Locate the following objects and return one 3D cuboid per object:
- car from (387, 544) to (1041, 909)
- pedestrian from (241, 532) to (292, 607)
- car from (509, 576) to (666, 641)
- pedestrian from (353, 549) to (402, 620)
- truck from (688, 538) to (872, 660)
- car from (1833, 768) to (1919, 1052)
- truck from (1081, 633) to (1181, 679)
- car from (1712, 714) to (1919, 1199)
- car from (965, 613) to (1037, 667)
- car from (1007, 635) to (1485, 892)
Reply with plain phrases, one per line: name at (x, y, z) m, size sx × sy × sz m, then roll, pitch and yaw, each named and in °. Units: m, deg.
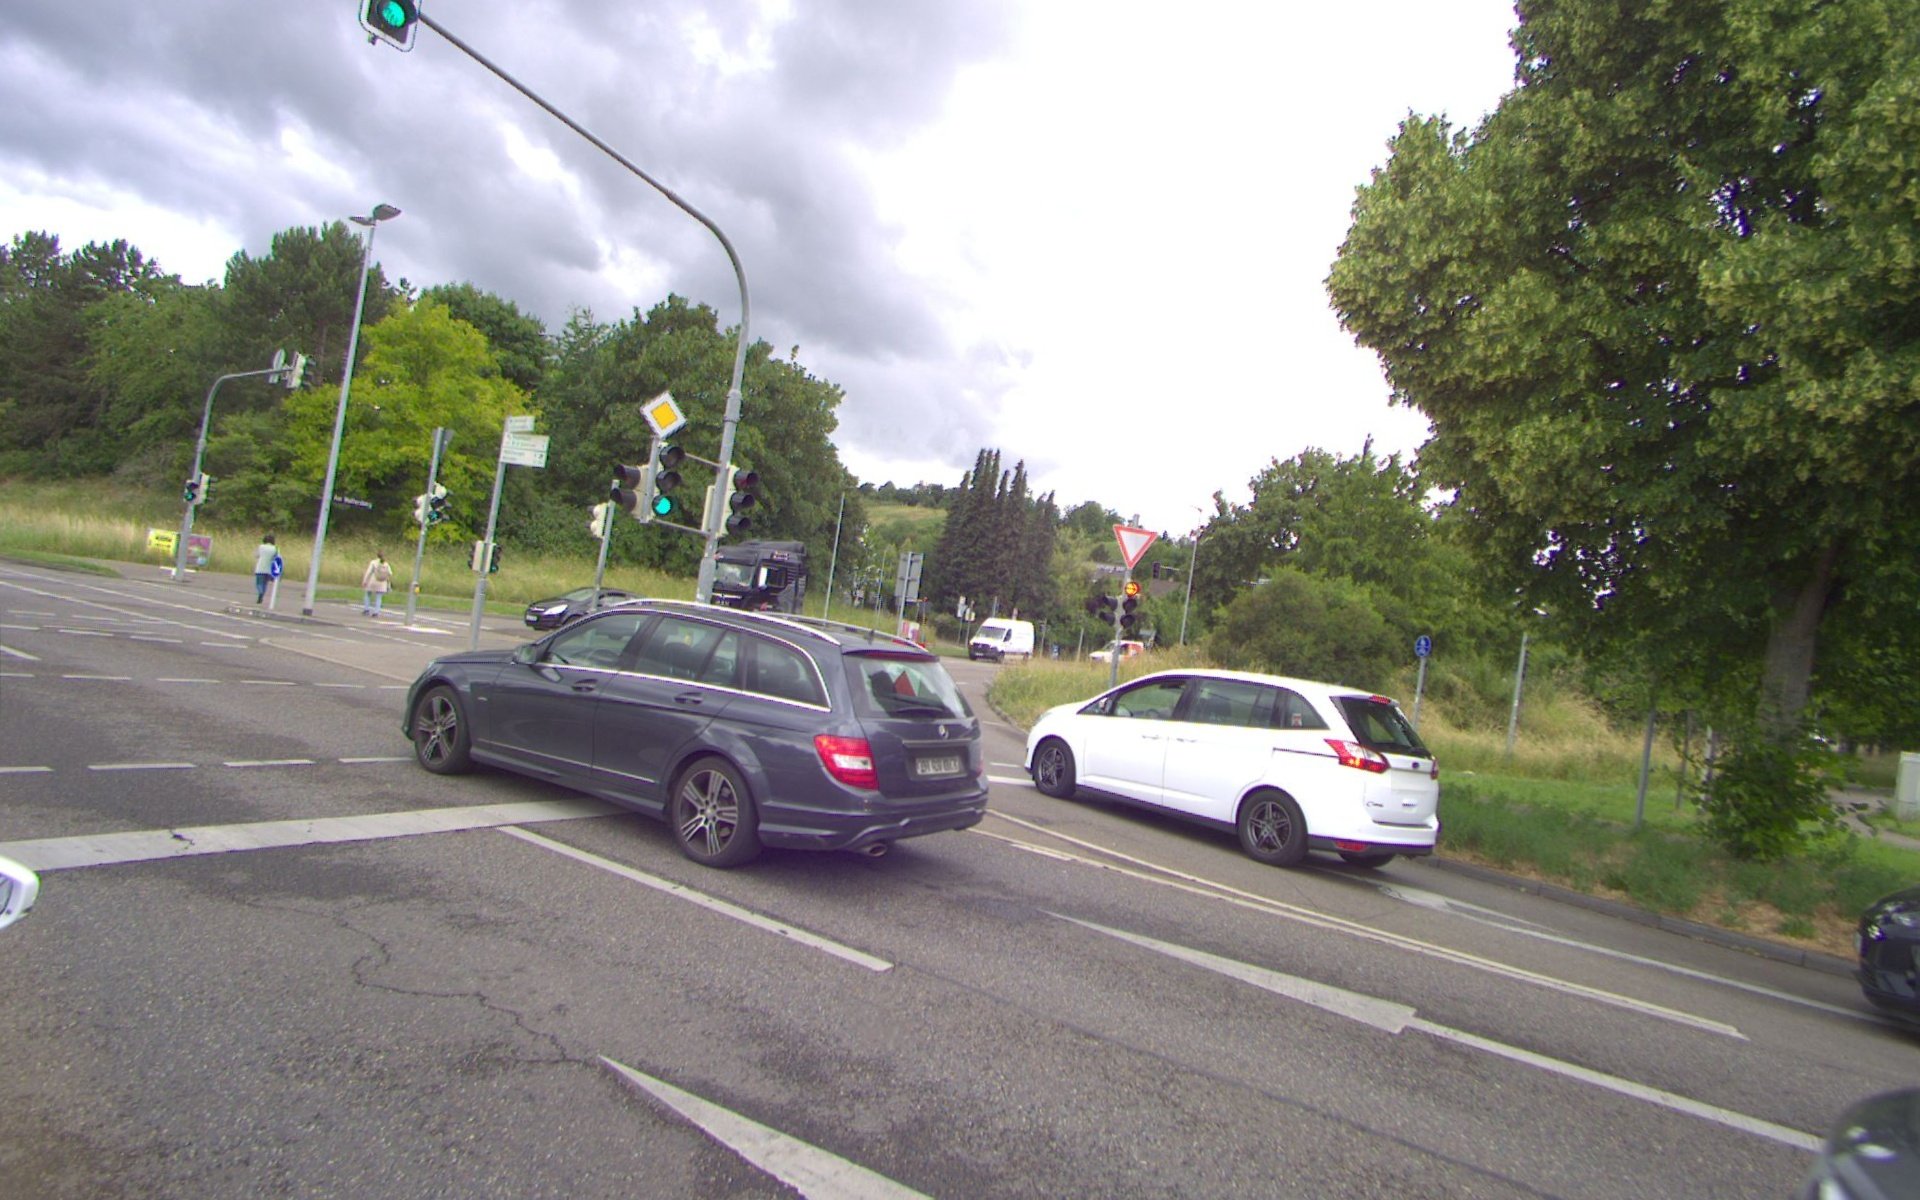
car at (-1.820, 0.660, 6.940) m, size 4.283 × 1.502 × 1.750 m, roll 8°, pitch -1°, yaw 32°
pedestrian at (-16.488, -0.723, 23.914) m, size 0.703 × 1.681 × 0.644 m, roll 6°, pitch -1°, yaw 38°
car at (-10.627, 0.290, 28.938) m, size 1.669 × 1.353 × 3.882 m, roll 6°, pitch -3°, yaw 34°
pedestrian at (-14.244, -0.383, 24.597) m, size 0.703 × 1.630 × 0.644 m, roll 6°, pitch -1°, yaw 37°
truck at (-6.166, 0.057, 35.343) m, size 2.648 × 3.527 × 6.004 m, roll 6°, pitch -1°, yaw 34°
car at (7.132, 1.991, 5.376) m, size 3.511 × 1.524 × 1.603 m, roll 6°, pitch -2°, yaw 38°
truck at (11.293, 3.707, 66.501) m, size 5.949 × 2.256 × 2.156 m, roll 8°, pitch -2°, yaw -15°
car at (3.175, 1.196, 0.752) m, size 3.982 × 1.525 × 1.749 m, roll 8°, pitch -1°, yaw 34°
car at (2.526, 2.459, 60.507) m, size 1.964 × 2.660 × 5.825 m, roll 7°, pitch -2°, yaw 25°
car at (2.635, 1.486, 10.225) m, size 1.752 × 1.673 × 4.325 m, roll 10°, pitch -3°, yaw -37°
